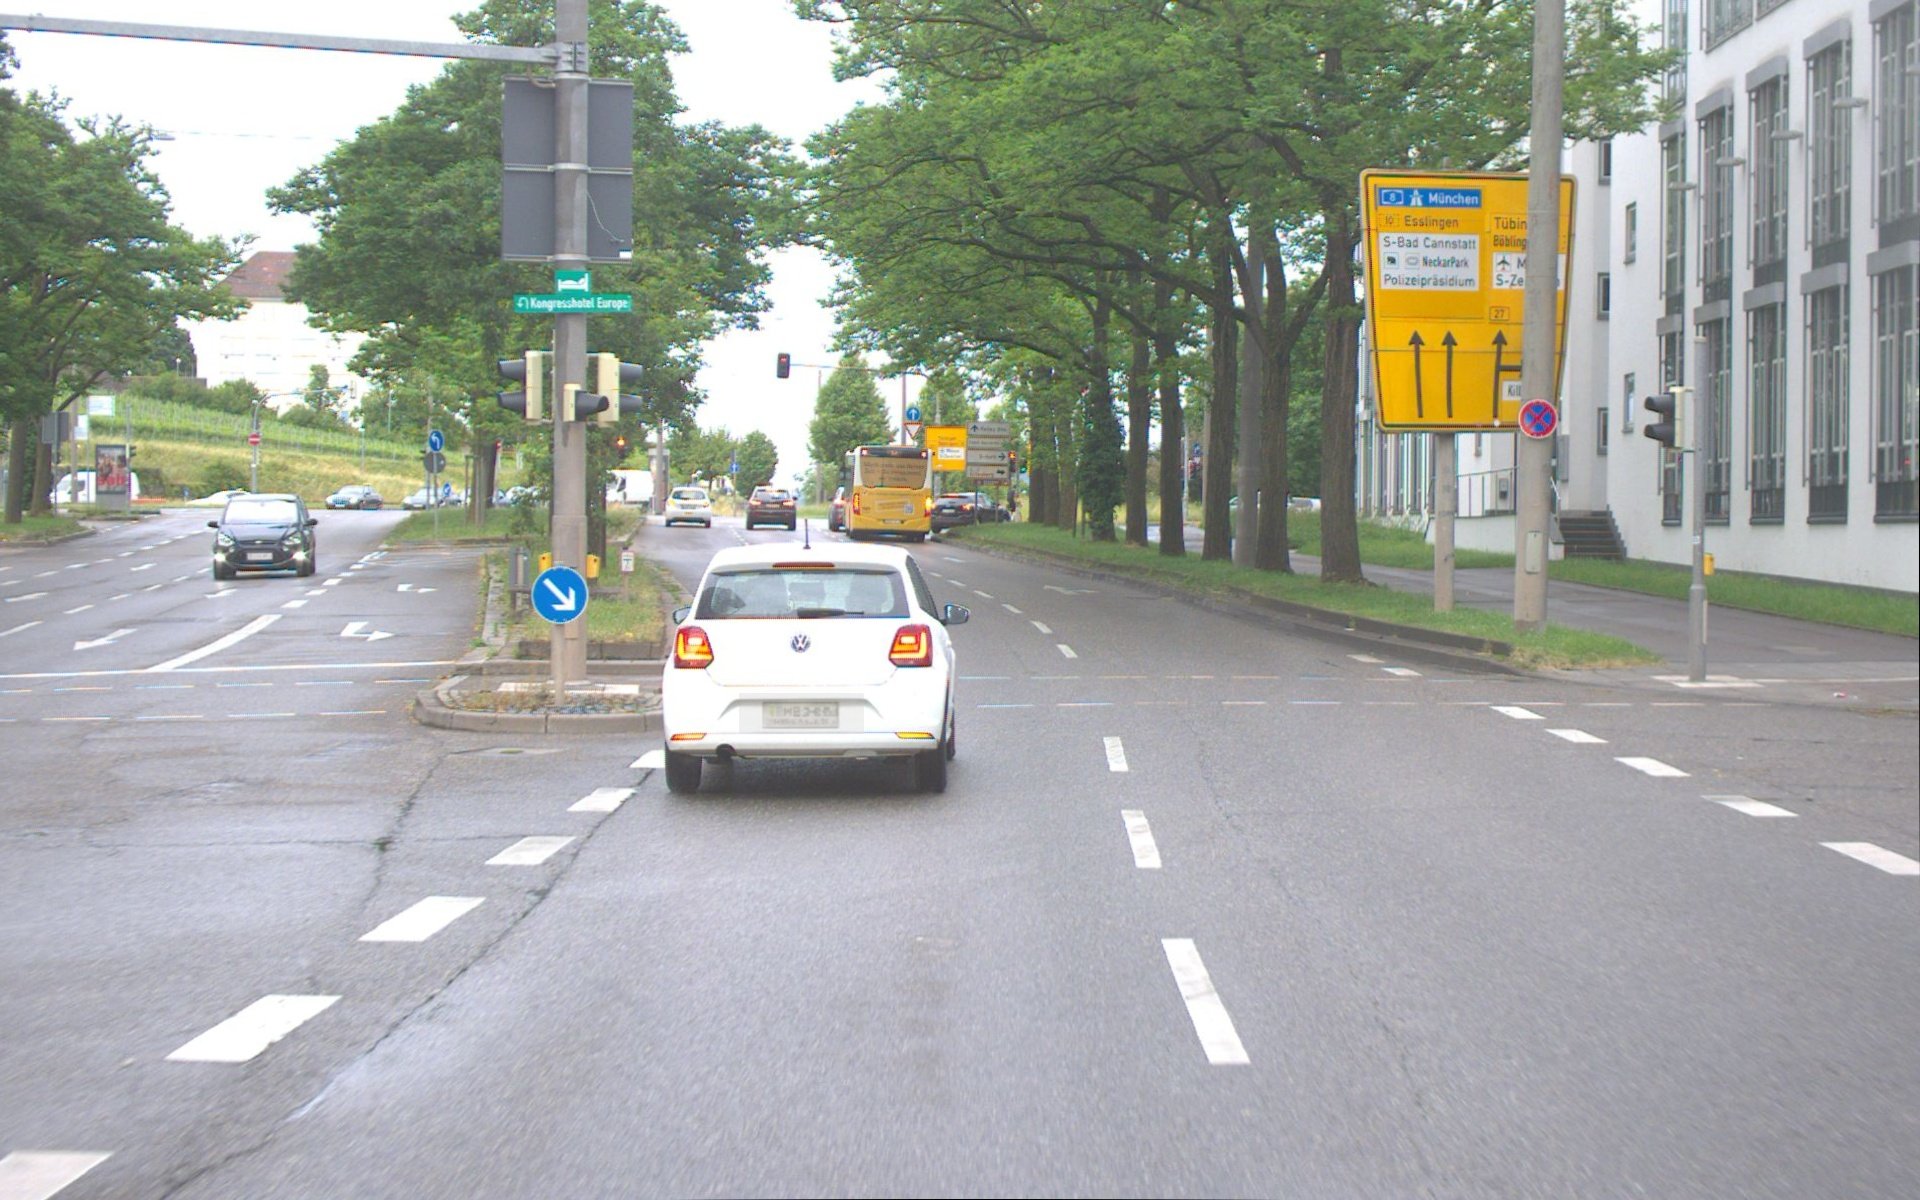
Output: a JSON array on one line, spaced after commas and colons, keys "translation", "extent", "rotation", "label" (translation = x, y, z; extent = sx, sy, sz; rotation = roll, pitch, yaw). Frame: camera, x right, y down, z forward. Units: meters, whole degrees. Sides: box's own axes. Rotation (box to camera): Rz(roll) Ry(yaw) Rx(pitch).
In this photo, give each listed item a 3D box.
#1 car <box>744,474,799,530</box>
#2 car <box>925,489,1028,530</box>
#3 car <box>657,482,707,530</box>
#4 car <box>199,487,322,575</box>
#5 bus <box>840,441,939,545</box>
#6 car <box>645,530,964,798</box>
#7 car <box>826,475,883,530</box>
[{"translation": [-6.973, -3.591, 126.956], "extent": [1.993, 2.007, 4.001], "rotation": [0, 1, -4], "label": "car"}, {"translation": [0.610, -3.326, 126.844], "extent": [1.699, 1.510, 3.818], "rotation": [1, 1, 42], "label": "car"}, {"translation": [-10.379, -3.513, 128.441], "extent": [1.794, 1.735, 4.001], "rotation": [-1, 1, -4], "label": "car"}, {"translation": [-13.903, -1.407, 68.558], "extent": [1.993, 1.610, 5.122], "rotation": [-2, 2, -7], "label": "car"}, {"translation": [-2.424, -3.600, 114.556], "extent": [2.828, 3.255, 10.002], "rotation": [1, 2, -4], "label": "bus"}, {"translation": [-0.960, 0.322, 21.386], "extent": [1.794, 1.497, 4.001], "rotation": [0, 1, -2], "label": "car"}, {"translation": [-3.938, -3.611, 128.127], "extent": [1.993, 2.007, 4.001], "rotation": [0, 1, -4], "label": "car"}]
